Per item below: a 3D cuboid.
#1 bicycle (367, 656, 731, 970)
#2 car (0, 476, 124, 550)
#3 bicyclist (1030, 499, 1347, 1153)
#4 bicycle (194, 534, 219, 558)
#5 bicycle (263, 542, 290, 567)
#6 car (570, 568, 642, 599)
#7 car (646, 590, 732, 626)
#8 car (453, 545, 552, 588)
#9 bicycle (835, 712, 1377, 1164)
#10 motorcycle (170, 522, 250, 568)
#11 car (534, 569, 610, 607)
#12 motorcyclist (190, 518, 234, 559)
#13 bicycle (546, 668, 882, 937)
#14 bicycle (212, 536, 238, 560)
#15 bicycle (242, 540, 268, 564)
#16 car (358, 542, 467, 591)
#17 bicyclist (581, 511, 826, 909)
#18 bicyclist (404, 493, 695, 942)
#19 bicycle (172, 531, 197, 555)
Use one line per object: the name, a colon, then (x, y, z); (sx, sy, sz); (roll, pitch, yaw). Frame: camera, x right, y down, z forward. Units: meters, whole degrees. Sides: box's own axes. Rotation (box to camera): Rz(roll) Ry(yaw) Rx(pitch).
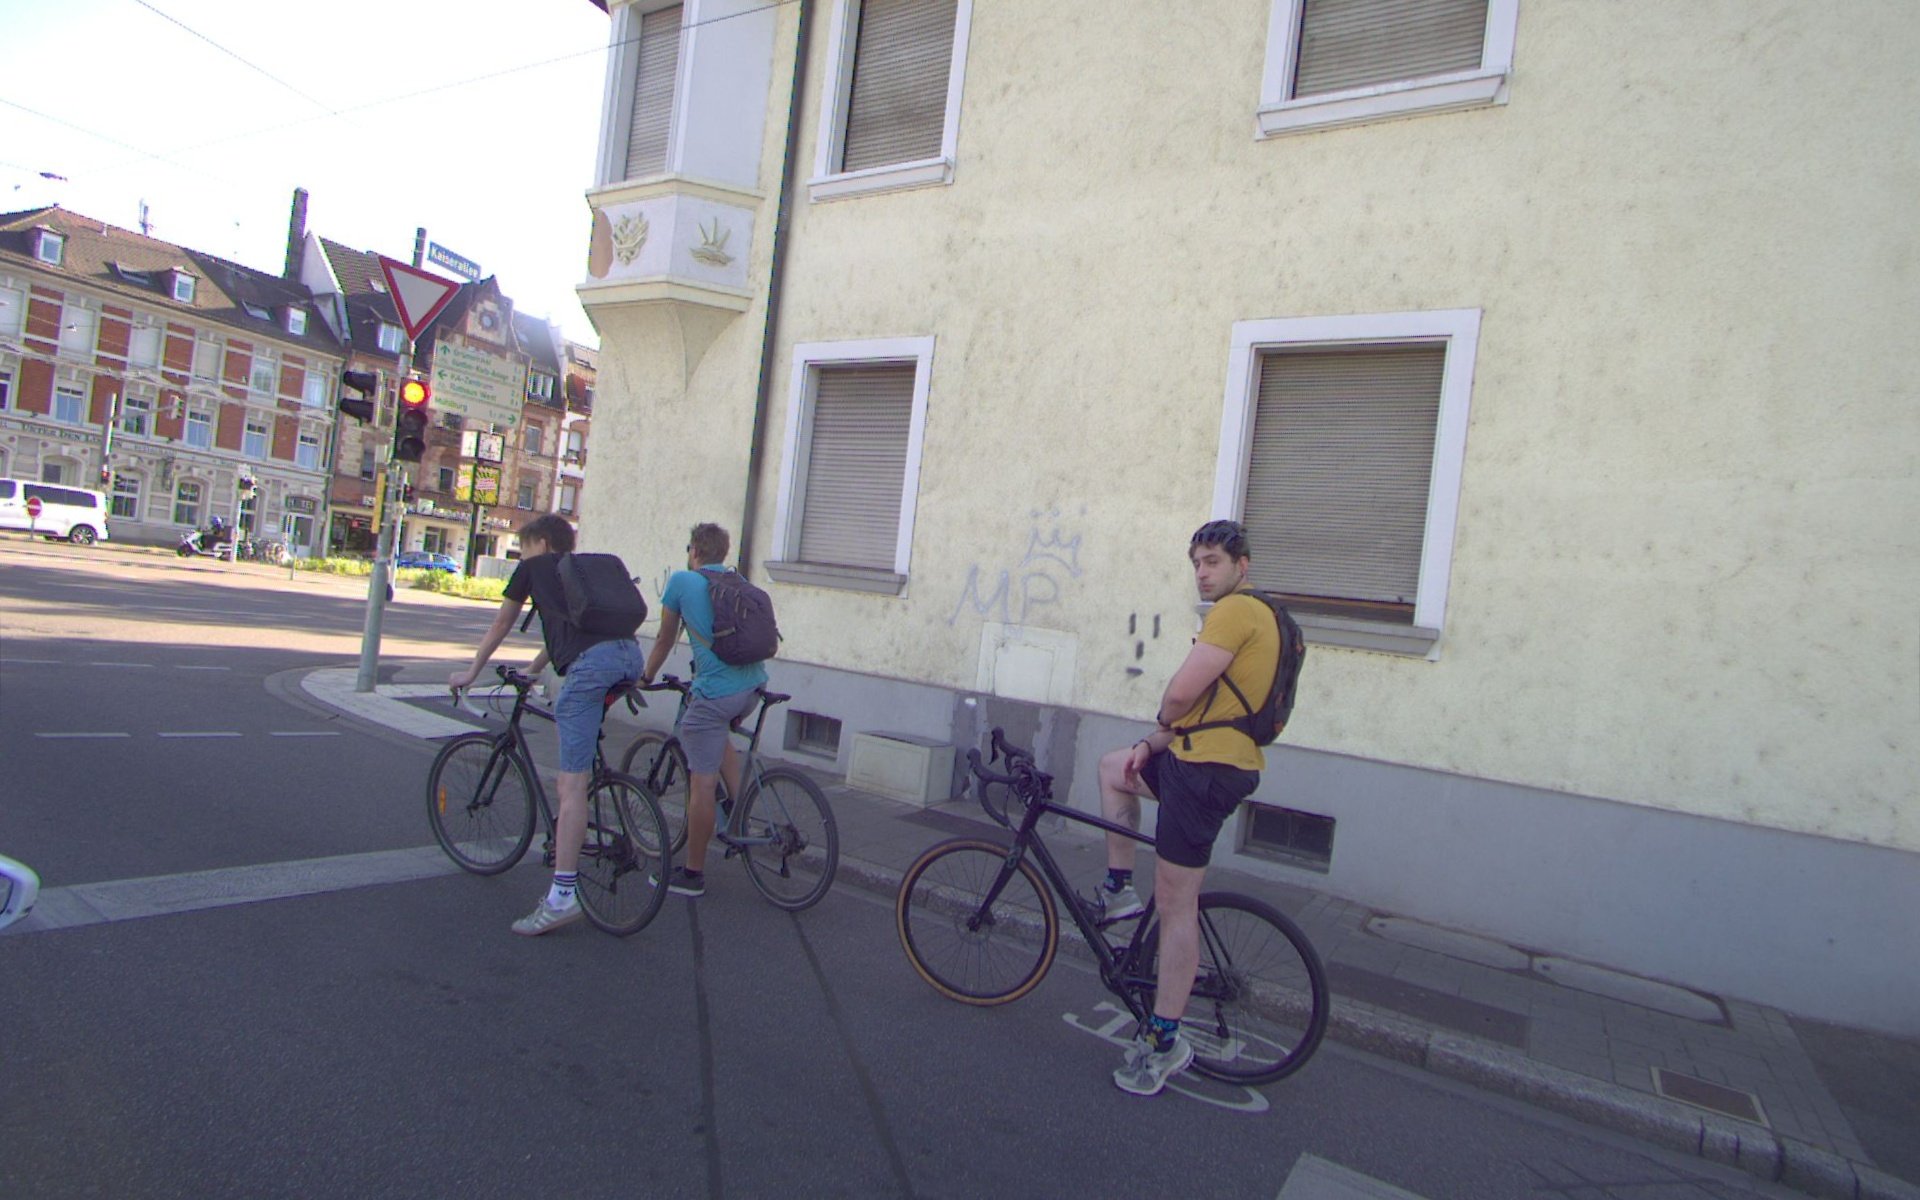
bicycle: (-1.902, 0.868, 4.545); (1.753, 1.003, 0.482); (6, -1, 32)
car: (-30.303, -2.934, 32.024); (1.965, 1.876, 5.214); (7, -1, 26)
bicyclist: (0.842, 0.722, 3.640); (0.763, 1.990, 0.783); (7, 0, 18)
bicycle: (-34.760, -2.509, 46.391); (0.762, 0.979, 2.186); (8, -2, -39)
bicycle: (-33.012, -2.203, 48.603); (0.789, 1.027, 2.186); (8, -2, -39)
car: (-22.983, -1.059, 65.378); (1.842, 1.454, 3.985); (6, -2, 35)
car: (-15.769, 0.500, 58.783); (1.774, 1.487, 4.866); (8, -1, 32)
car: (-21.371, -1.536, 47.122); (1.569, 1.443, 3.876); (7, -1, 32)
bicycle: (0.540, 1.122, 3.770); (1.709, 1.119, 0.783); (7, -1, 18)
motorcycle: (-27.563, -2.020, 36.986); (0.785, 1.349, 2.134); (6, -2, 41)
car: (-22.289, -0.673, 57.880); (1.749, 1.636, 3.604); (6, -2, 30)
motorcyclist: (-27.516, -2.257, 37.013); (0.778, 1.315, 1.014); (6, -2, 41)
bicycle: (-1.317, 0.970, 5.213); (1.753, 0.995, 0.504); (6, -1, 32)
bicycle: (-34.318, -2.427, 46.967); (0.762, 0.995, 2.186); (8, -2, -39)
bicycle: (-33.601, -2.306, 47.945); (0.762, 1.019, 2.196); (8, -2, -39)
car: (-25.439, -1.548, 46.881); (1.775, 1.641, 3.994); (6, -2, 33)
bicyclist: (-1.347, 0.525, 5.267); (0.960, 1.868, 0.504); (6, -1, 32)
bicyclist: (-1.853, 0.474, 4.549); (0.920, 1.787, 0.590); (6, -1, 32)
bicycle: (-35.361, -2.610, 45.867); (0.762, 0.974, 2.186); (8, -2, -39)
